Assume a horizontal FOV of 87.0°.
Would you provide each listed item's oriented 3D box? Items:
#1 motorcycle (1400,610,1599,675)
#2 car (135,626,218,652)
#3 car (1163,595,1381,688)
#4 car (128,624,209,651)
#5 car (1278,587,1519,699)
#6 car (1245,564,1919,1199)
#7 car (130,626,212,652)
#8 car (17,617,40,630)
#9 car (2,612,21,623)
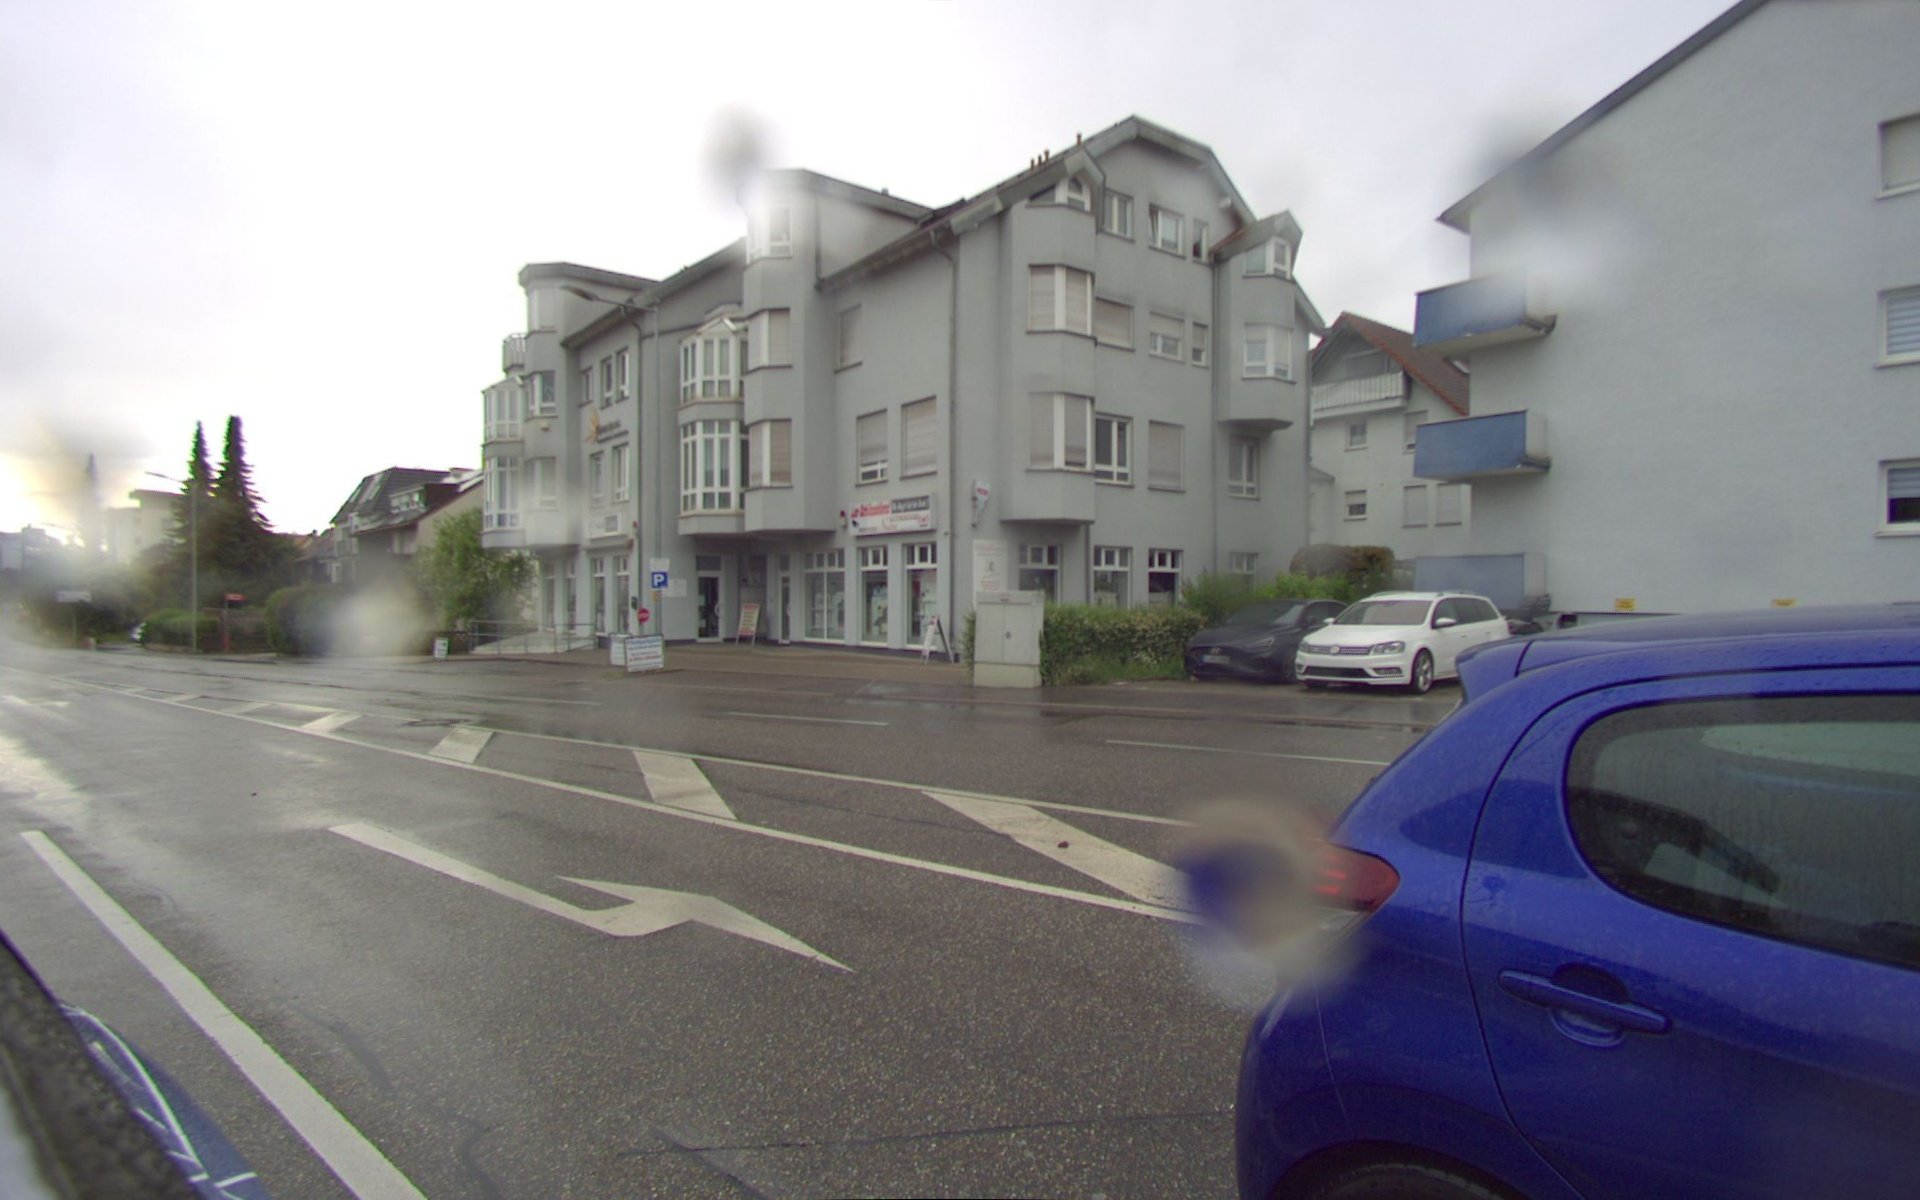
[{"bbox_3d":[9.772,0.778,18.526,3.112,1.108,0.869,-2,-1,25],"label":"motorcycle"},{"bbox_3d":[-49.623,2.431,64.121,3.978,1.453,1.814,-2,0,-44],"label":"car"},{"bbox_3d":[5.475,0.656,17.539,3.940,1.421,1.906,0,-1,-43],"label":"car"},{"bbox_3d":[-53.151,2.492,67.992,4.058,1.557,2.002,-2,0,-44],"label":"car"},{"bbox_3d":[6.850,0.589,15.619,4.169,1.485,1.906,0,-1,-43],"label":"car"},{"bbox_3d":[2.237,0.637,1.233,3.269,1.421,1.562,-2,0,42],"label":"car"},{"bbox_3d":[-51.357,2.500,65.914,4.096,1.453,1.892,-2,0,-42],"label":"car"},{"bbox_3d":[-124.370,3.139,135.181,1.968,1.628,4.008,0,-1,-38],"label":"car"},{"bbox_3d":[-148.767,2.753,158.758,1.824,1.777,4.129,0,-1,-39],"label":"car"}]
